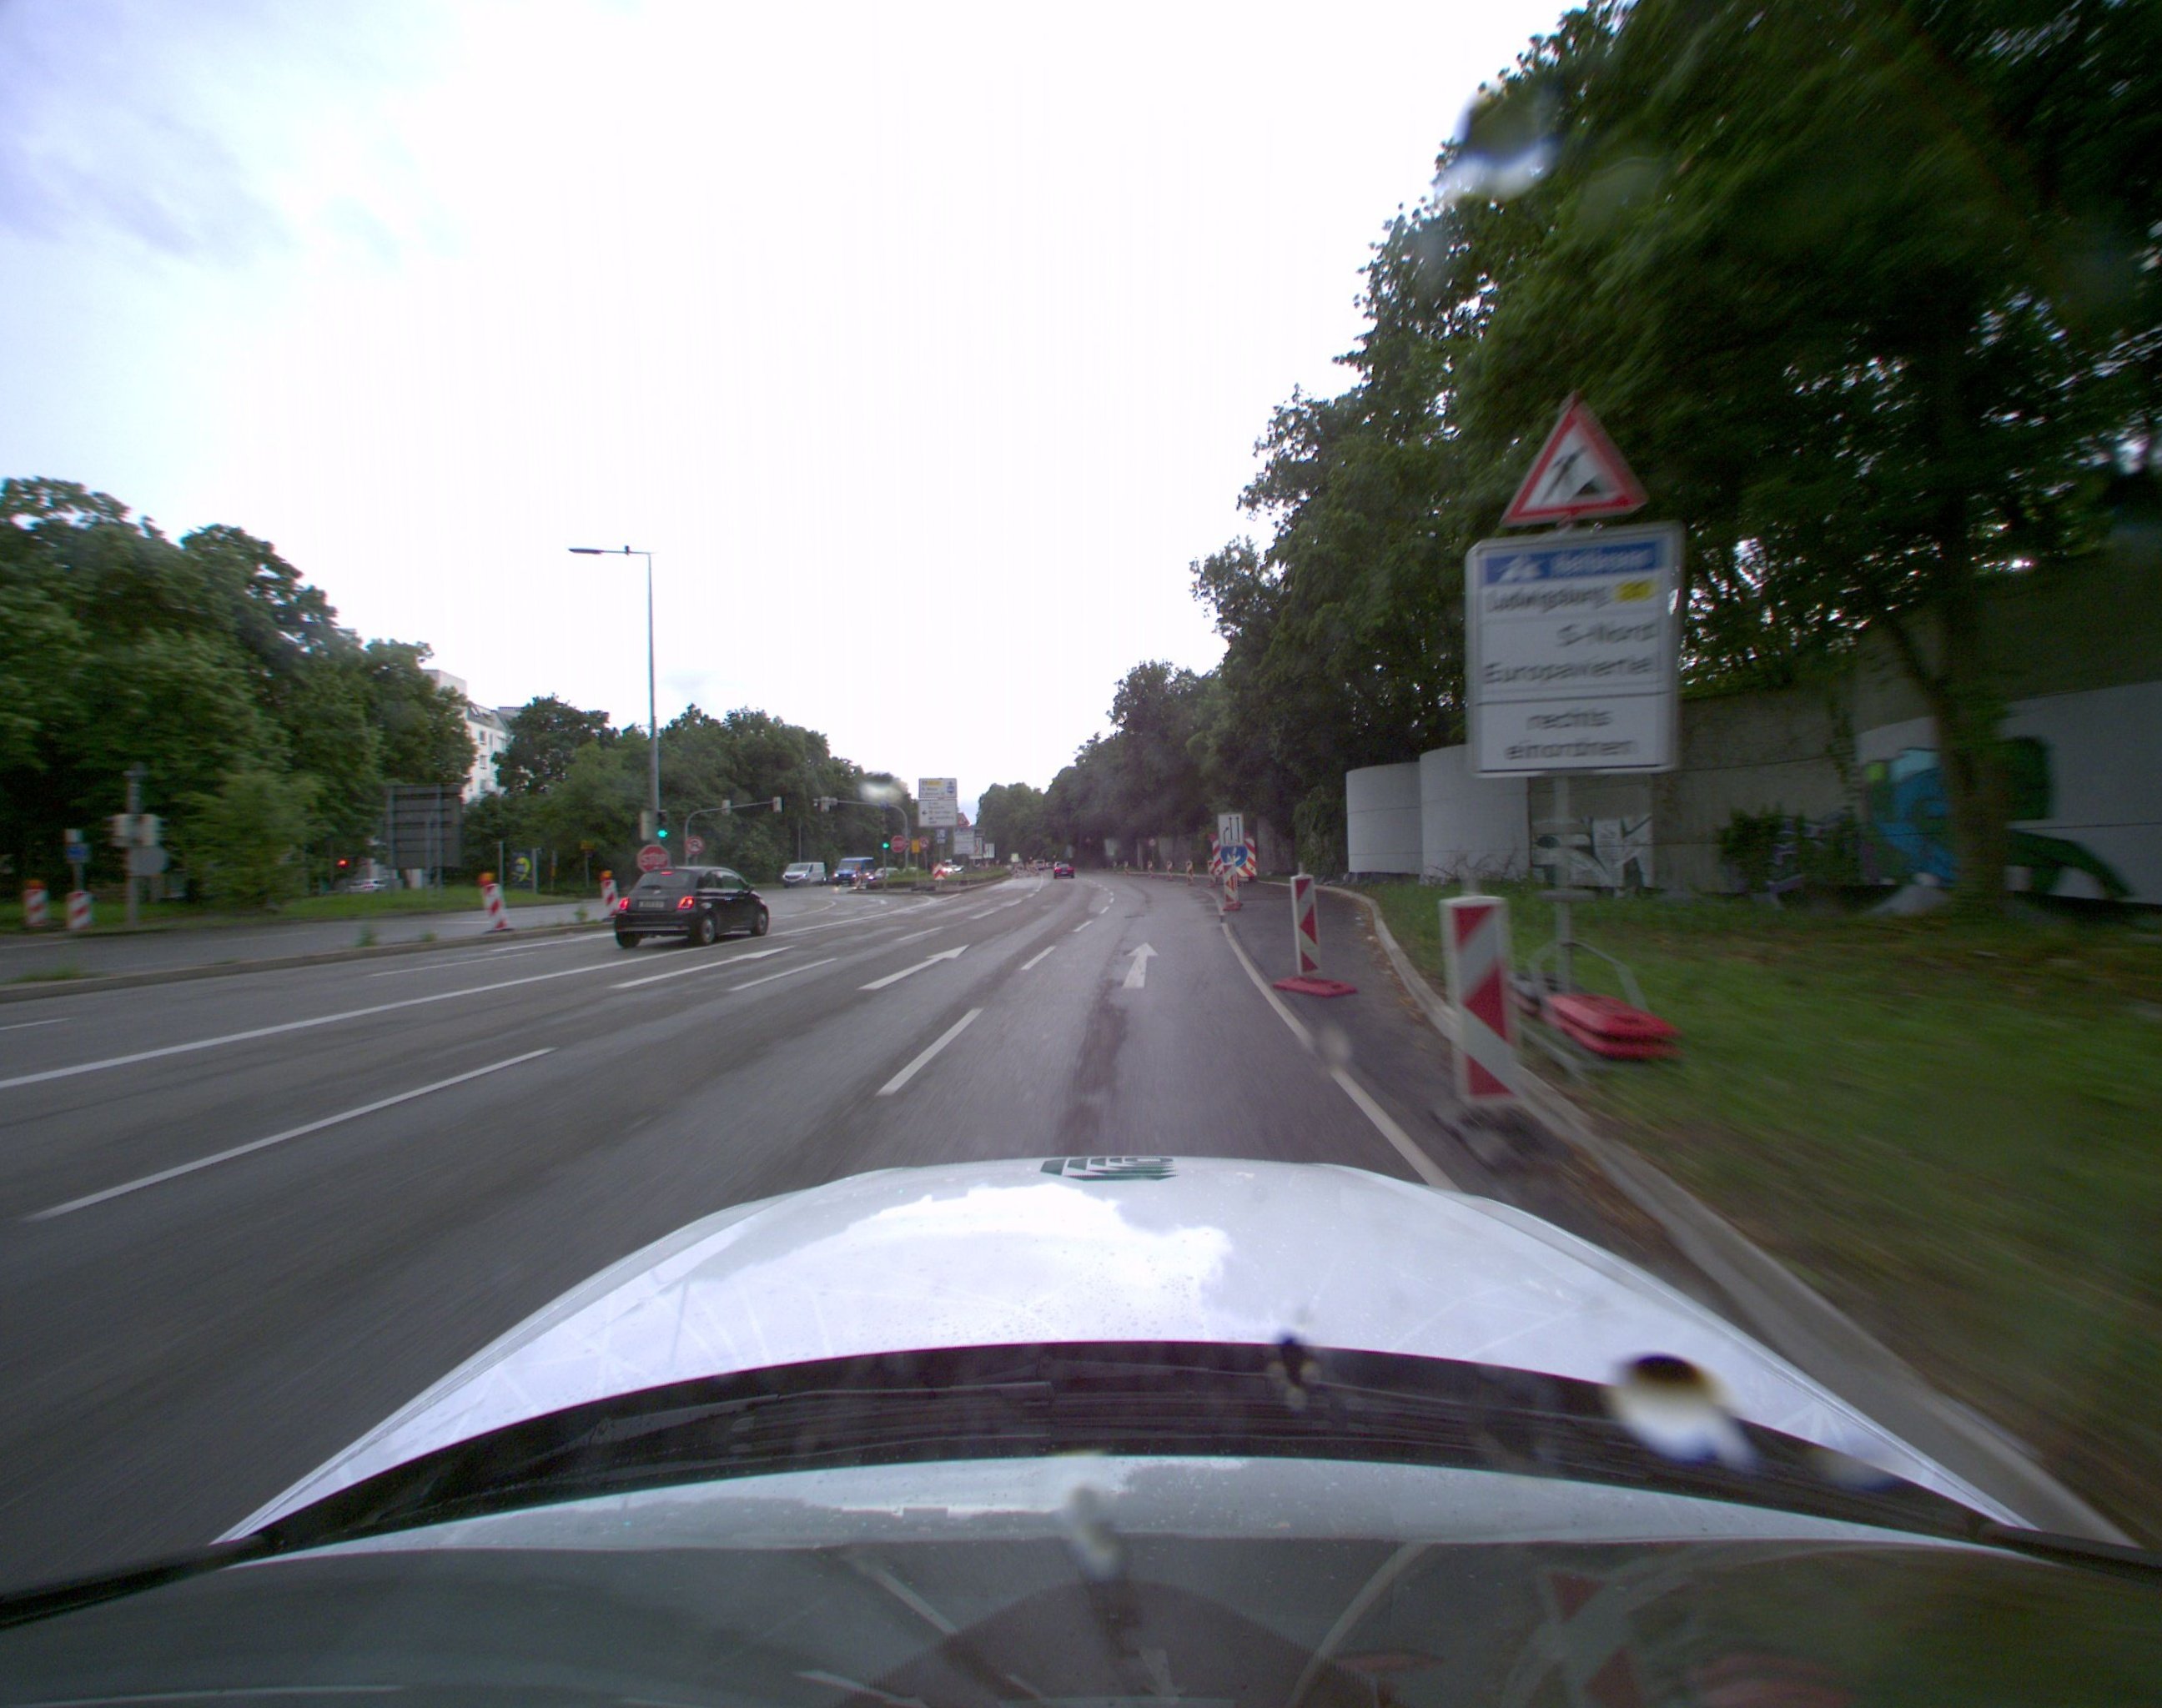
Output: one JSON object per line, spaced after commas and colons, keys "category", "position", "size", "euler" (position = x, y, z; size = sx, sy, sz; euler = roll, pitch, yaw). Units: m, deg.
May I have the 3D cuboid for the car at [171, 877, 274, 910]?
{"category": "car", "position": [-48.138, 2.192, 45.735], "size": [3.494, 1.658, 1.870], "euler": [-2, -1, -11]}

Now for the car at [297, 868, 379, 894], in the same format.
{"category": "car", "position": [-54.454, 1.961, 59.744], "size": [3.994, 1.794, 1.904], "euler": [0, 0, -15]}

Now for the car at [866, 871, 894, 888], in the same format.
{"category": "car", "position": [-15.856, 1.999, 64.464], "size": [1.547, 1.200, 4.634], "euler": [-2, -1, -7]}

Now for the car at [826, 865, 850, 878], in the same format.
{"category": "car", "position": [-21.450, 1.530, 71.893], "size": [1.266, 1.085, 2.792], "euler": [-1, 0, -1]}

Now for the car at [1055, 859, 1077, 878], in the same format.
{"category": "car", "position": [-1.330, 1.291, 74.248], "size": [1.856, 1.491, 4.000], "euler": [-1, 2, 0]}

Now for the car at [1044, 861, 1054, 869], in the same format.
{"category": "car", "position": [-6.938, 2.332, 177.674], "size": [1.861, 1.491, 3.989], "euler": [-1, 2, -8]}

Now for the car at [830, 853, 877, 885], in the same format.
{"category": "car", "position": [-18.761, 1.202, 67.481], "size": [2.188, 2.390, 6.241], "euler": [-1, 1, -1]}

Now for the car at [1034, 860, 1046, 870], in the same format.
{"category": "car", "position": [-5.172, 1.420, 103.330], "size": [1.384, 1.233, 3.083], "euler": [0, 0, 1]}

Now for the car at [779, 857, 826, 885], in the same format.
{"category": "car", "position": [-21.963, 1.293, 64.421], "size": [2.028, 1.974, 4.988], "euler": [-1, 1, -1]}

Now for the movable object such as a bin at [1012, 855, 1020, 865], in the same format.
{"category": "movable object such as a bin", "position": [-18.801, 1.763, 234.840], "size": [1.747, 2.867, 3.522], "euler": [-3, 0, -10]}

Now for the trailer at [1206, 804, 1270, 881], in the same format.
{"category": "trailer", "position": [7.957, -0.534, 41.834], "size": [2.297, 3.589, 5.966], "euler": [-3, -1, 4]}

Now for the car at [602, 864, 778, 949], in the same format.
{"category": "car", "position": [-7.472, 0.940, 15.959], "size": [1.580, 1.441, 3.507], "euler": [-1, -1, 3]}
